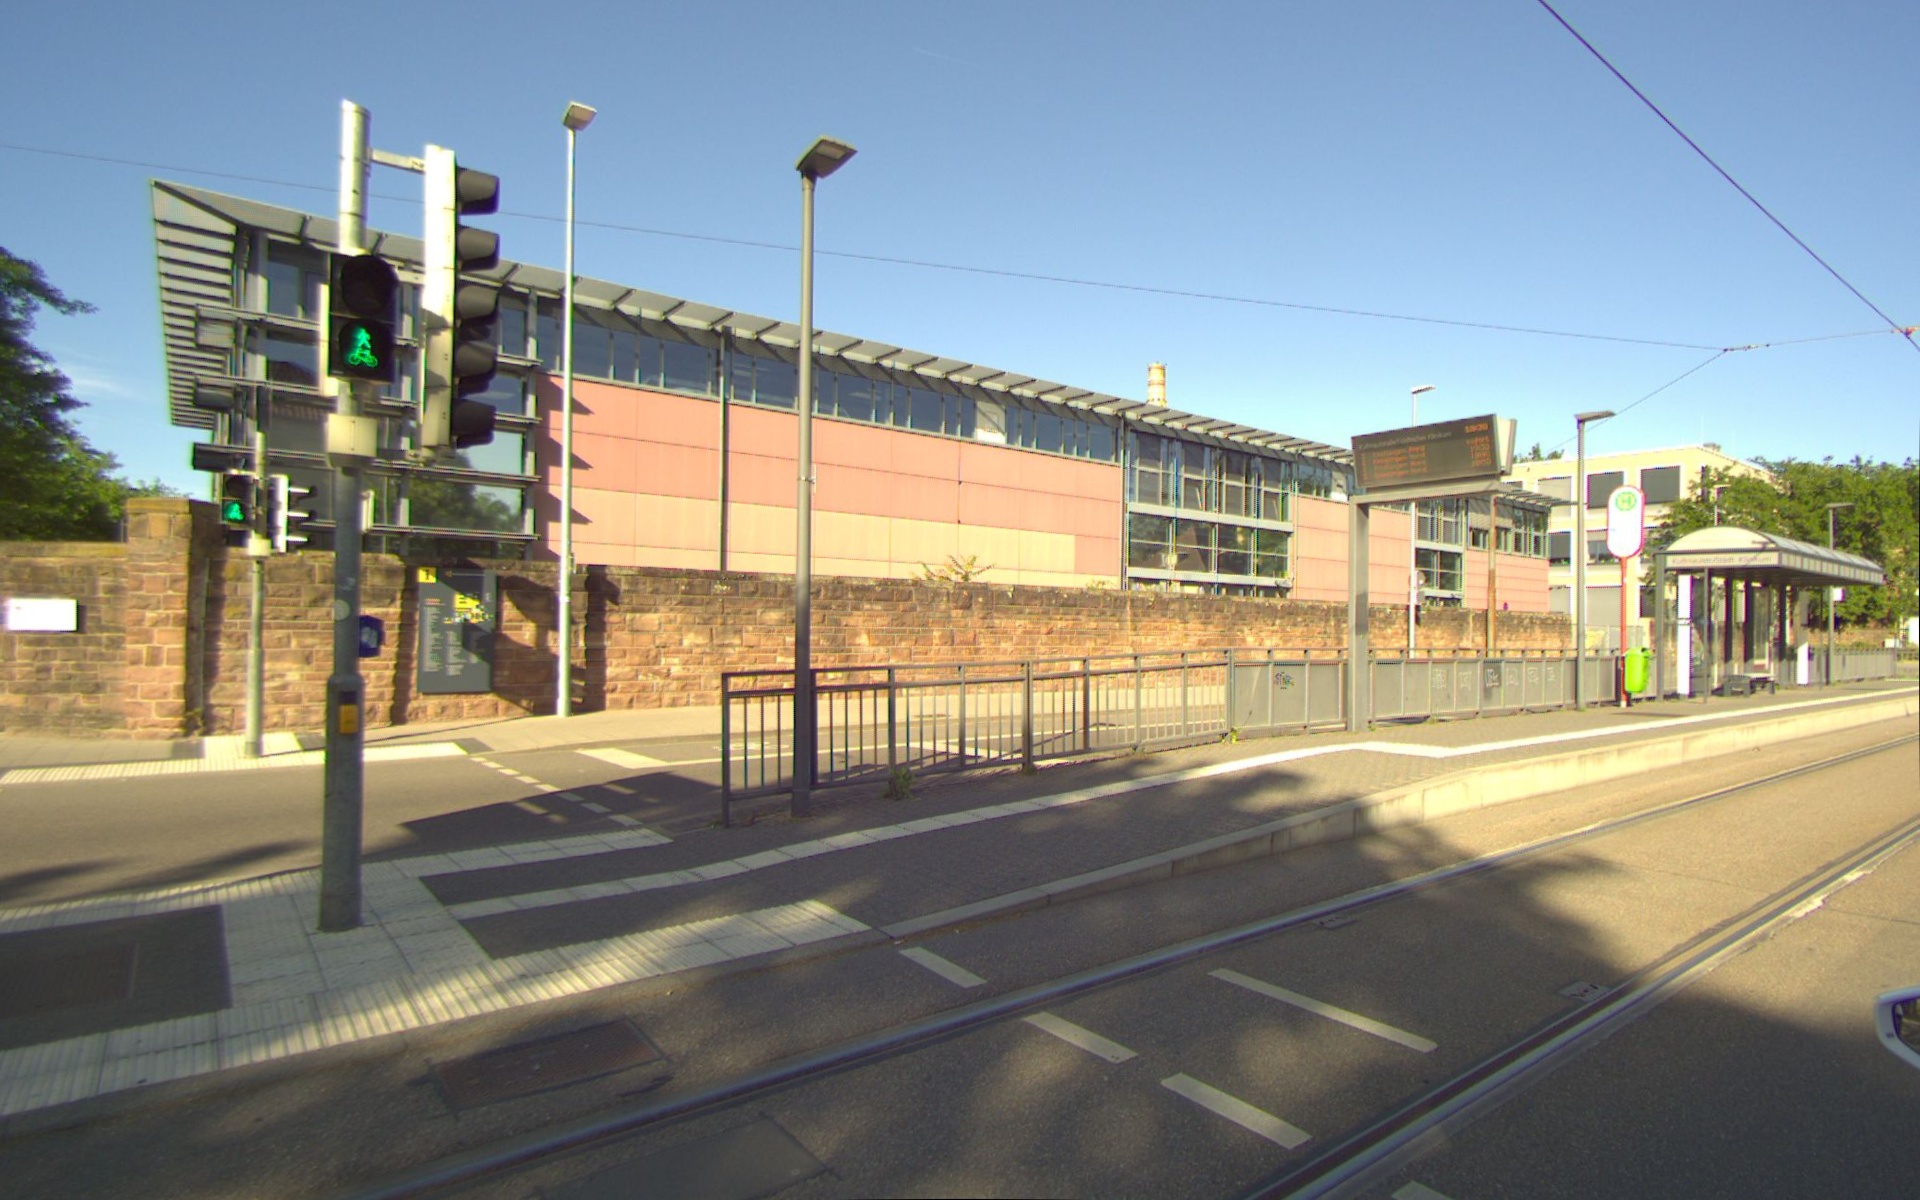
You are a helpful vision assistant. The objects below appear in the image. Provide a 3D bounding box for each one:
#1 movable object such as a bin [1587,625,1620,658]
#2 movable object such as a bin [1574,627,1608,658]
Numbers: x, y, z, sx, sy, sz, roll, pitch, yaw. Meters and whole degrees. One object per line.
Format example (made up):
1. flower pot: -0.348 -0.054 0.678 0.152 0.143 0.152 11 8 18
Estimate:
1. movable object such as a bin: 28.602 1.833 44.641 1.298 1.466 0.874 2 -2 -39
2. movable object such as a bin: 27.287 1.843 43.429 1.298 1.302 0.874 2 -2 -40
